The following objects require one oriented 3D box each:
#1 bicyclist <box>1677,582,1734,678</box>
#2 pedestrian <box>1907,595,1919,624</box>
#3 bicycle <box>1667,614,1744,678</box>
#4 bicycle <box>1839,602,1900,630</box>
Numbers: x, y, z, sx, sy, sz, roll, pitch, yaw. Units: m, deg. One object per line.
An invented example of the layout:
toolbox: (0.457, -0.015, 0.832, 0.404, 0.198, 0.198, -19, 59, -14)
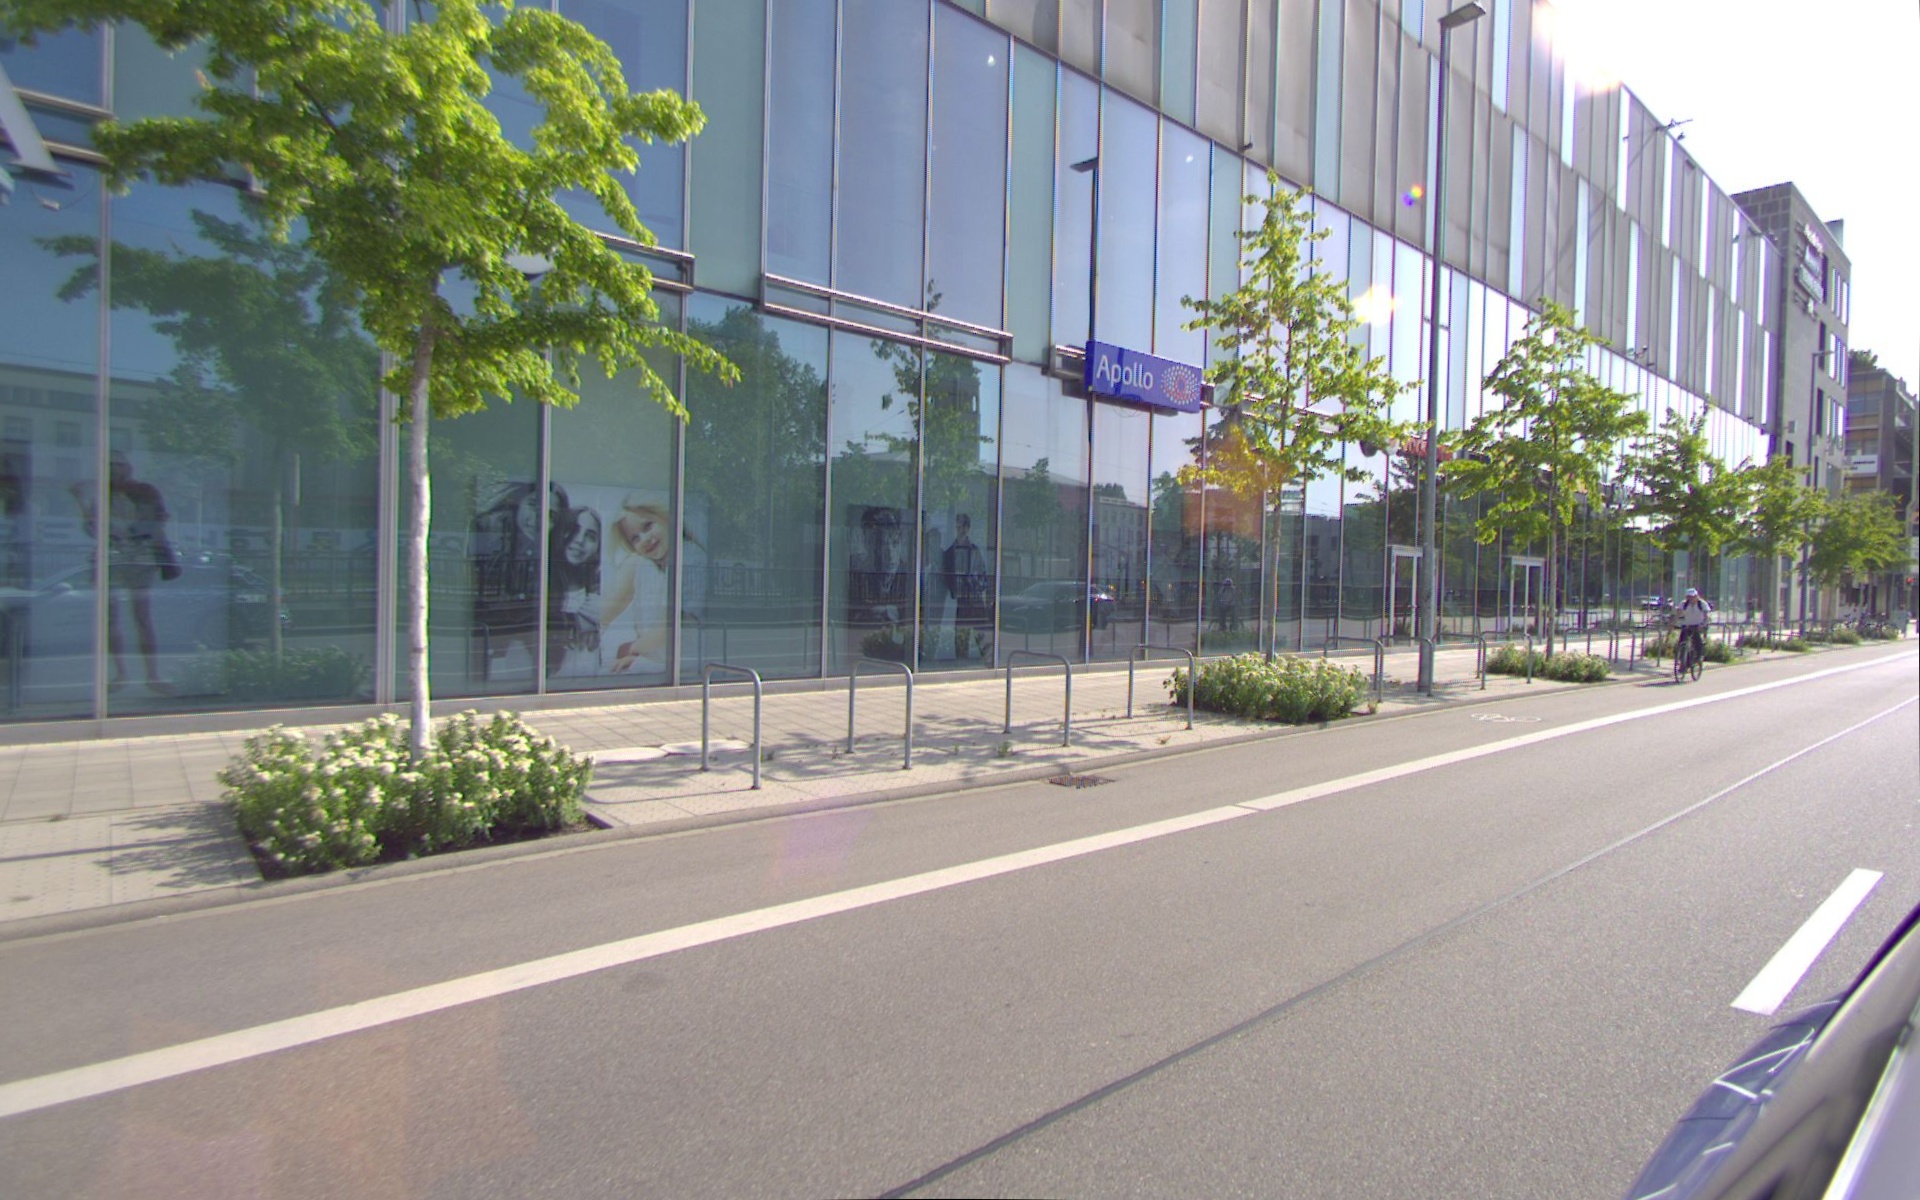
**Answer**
bicyclist: (14.235, 0.558, 19.327, 0.755, 1.770, 0.653, 1, 1, -38)
pedestrian: (51.416, 0.501, 54.398, 0.707, 1.506, 0.595, 2, 1, 43)
bicycle: (14.307, 0.853, 19.408, 2.013, 1.131, 0.663, 1, 1, -38)
bicycle: (39.328, 0.676, 43.775, 0.481, 1.123, 1.883, 1, 1, -38)
